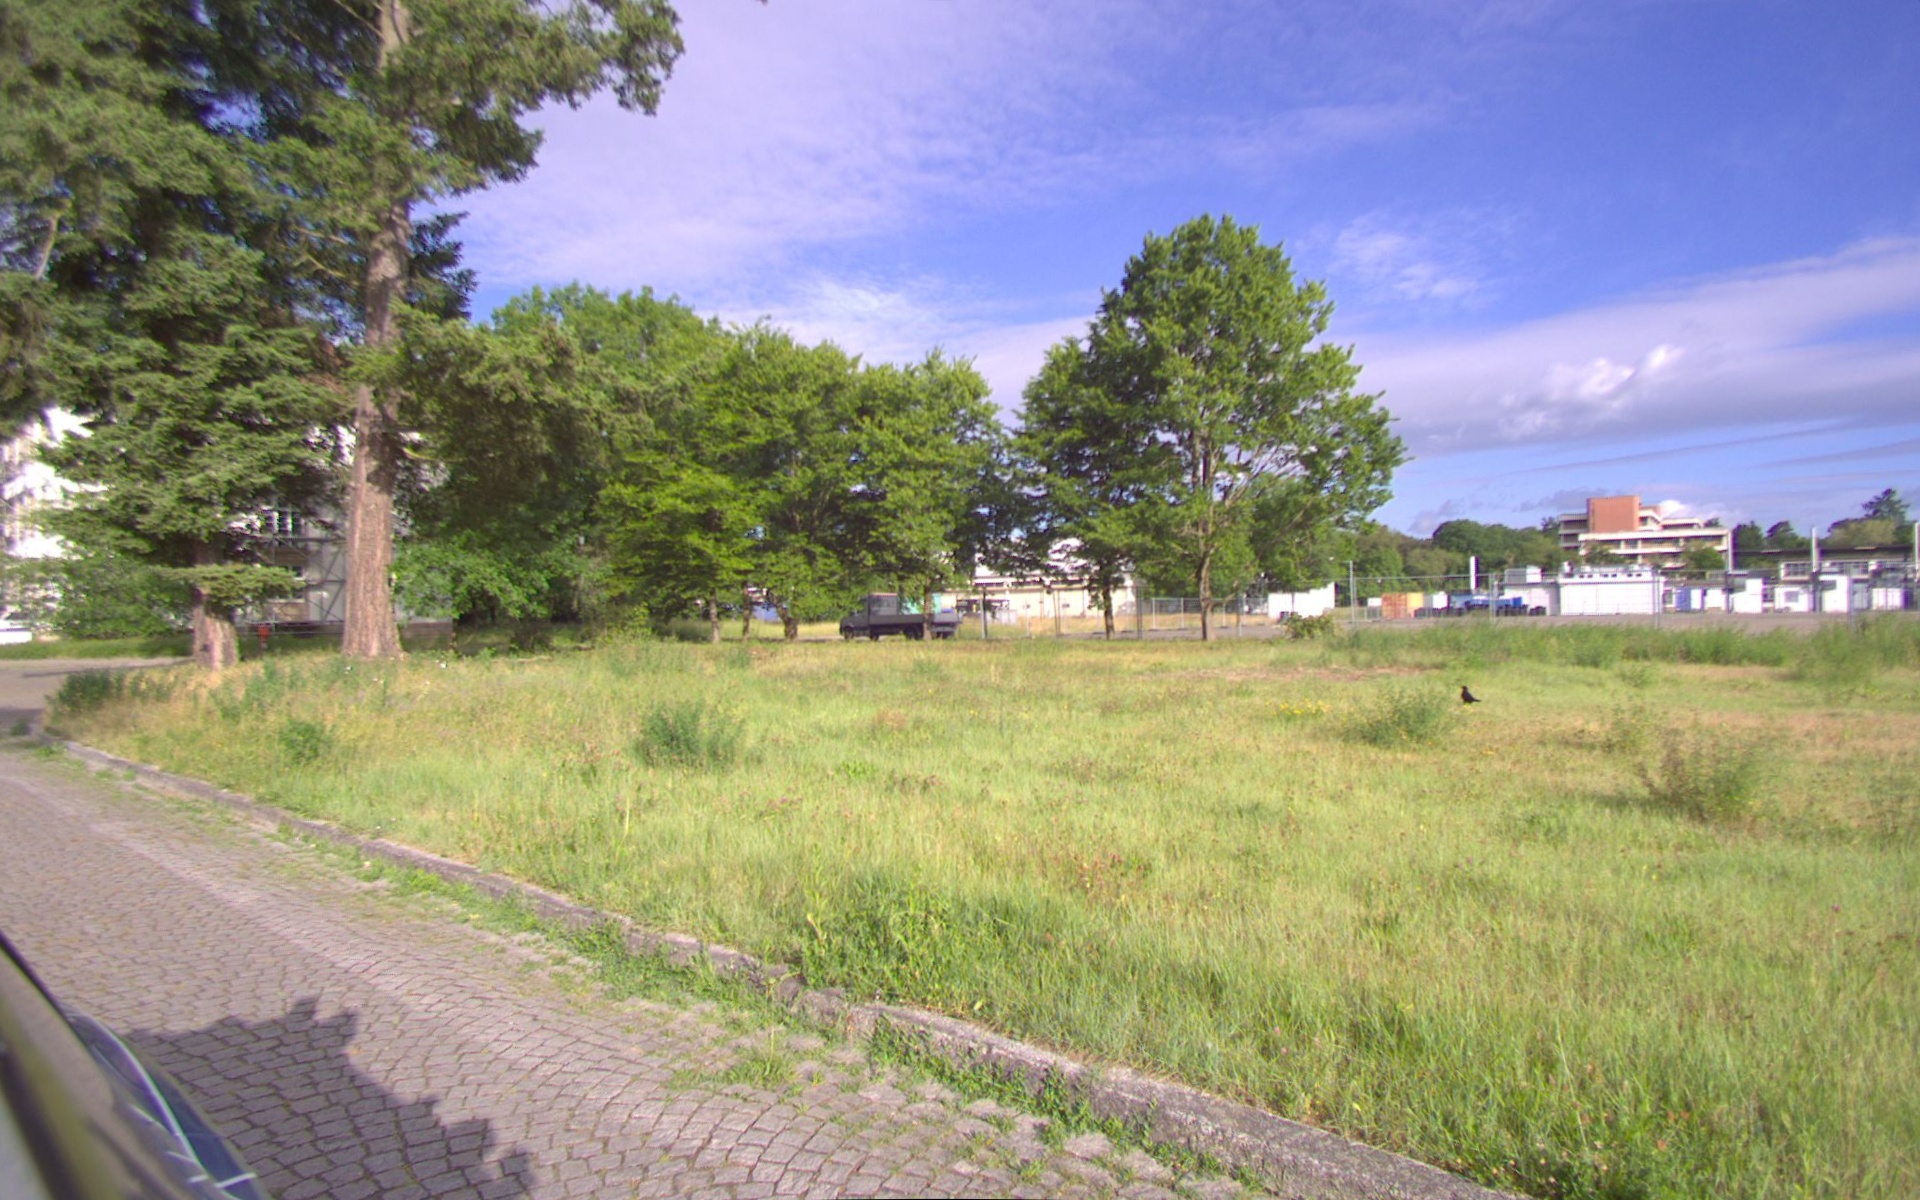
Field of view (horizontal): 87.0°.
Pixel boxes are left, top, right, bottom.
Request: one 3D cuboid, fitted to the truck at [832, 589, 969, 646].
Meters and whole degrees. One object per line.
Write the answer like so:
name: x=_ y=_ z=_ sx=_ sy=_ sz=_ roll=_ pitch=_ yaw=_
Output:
truck: x=-2.987 y=0.864 z=49.022 sx=6.955 sy=2.606 sz=2.386 roll=-2 pitch=-1 yaw=42
